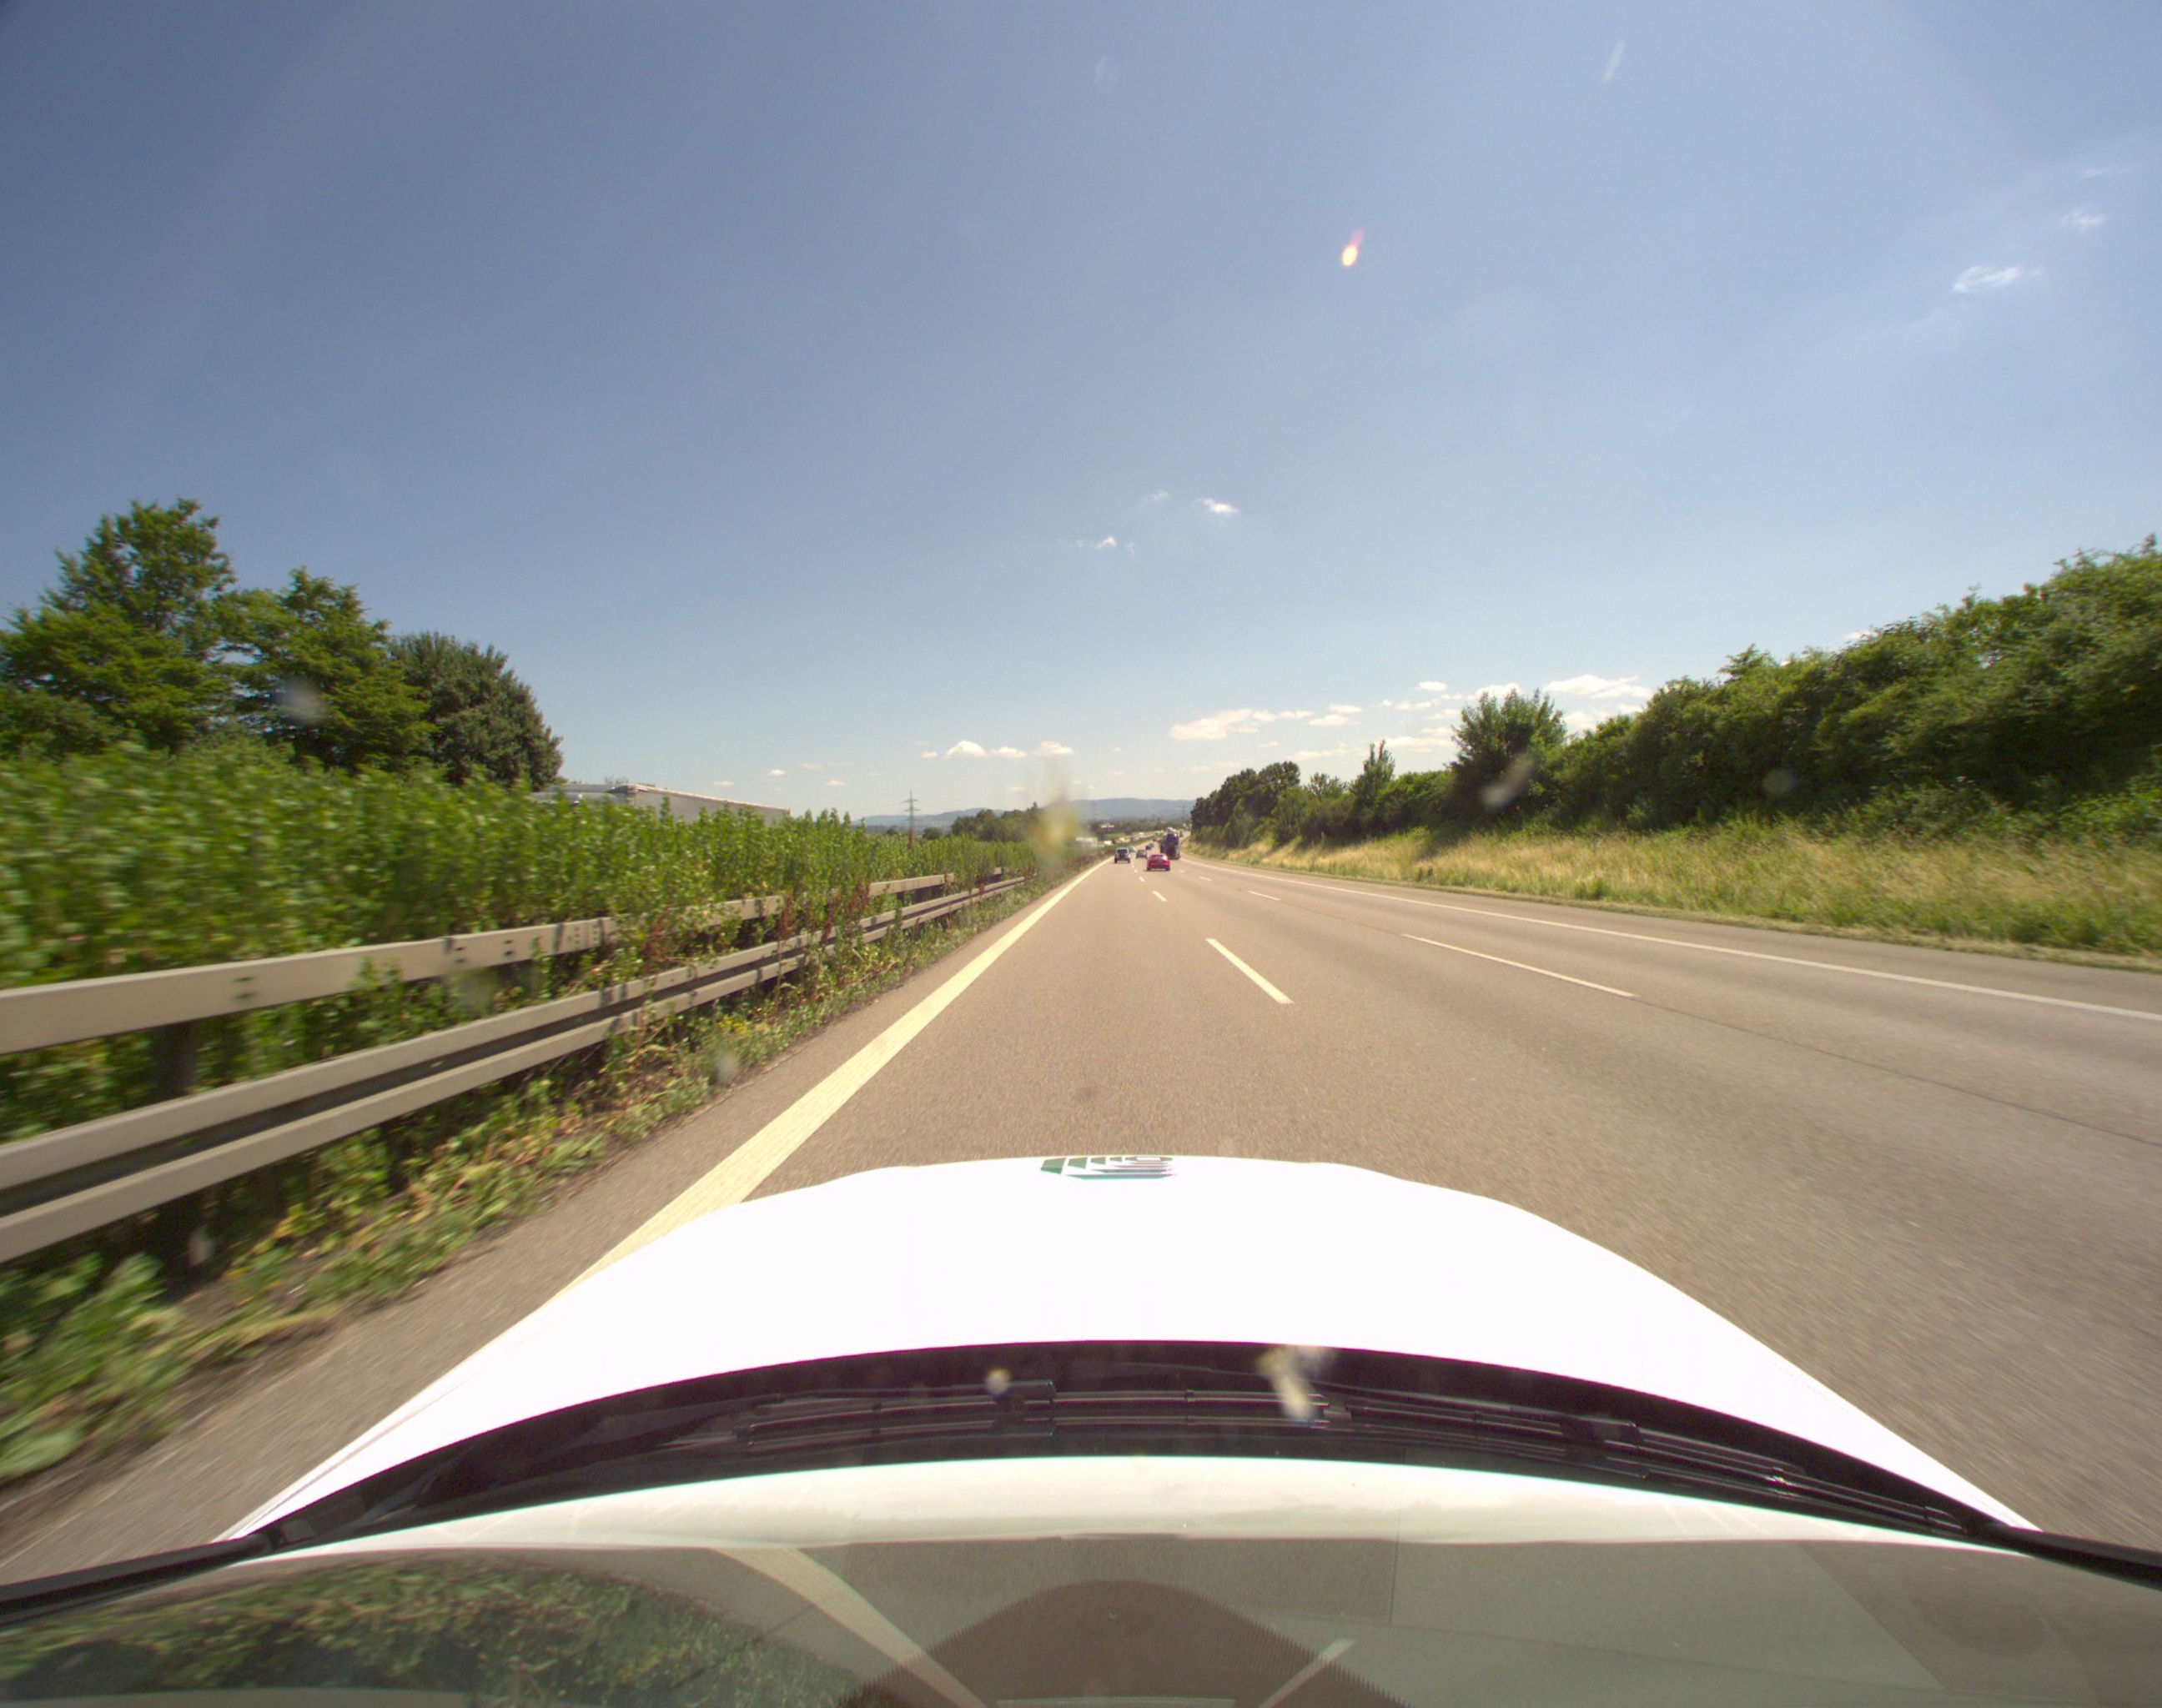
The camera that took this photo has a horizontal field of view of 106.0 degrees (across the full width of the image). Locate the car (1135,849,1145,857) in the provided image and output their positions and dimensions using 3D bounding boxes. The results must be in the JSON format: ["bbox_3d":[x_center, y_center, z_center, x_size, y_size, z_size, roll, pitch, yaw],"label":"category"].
[{"bbox_3d":[9.822,-0.168,135.724,1.446,1.267,3.541,0,1,2],"label":"car"}]

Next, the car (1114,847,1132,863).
[{"bbox_3d":[5.247,0.080,101.480,2.076,1.829,4.754,0,1,1],"label":"car"}]

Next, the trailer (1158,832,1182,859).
[{"bbox_3d":[13.824,-1.442,128.061,2.843,3.993,15.409,0,1,3],"label":"trailer"}]

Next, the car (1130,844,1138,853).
[{"bbox_3d":[13.262,-1.362,204.387,1.688,2.013,3.833,0,1,9],"label":"car"}]

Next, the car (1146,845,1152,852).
[{"bbox_3d":[19.278,-1.583,231.138,1.626,1.704,3.410,0,1,9],"label":"car"}]

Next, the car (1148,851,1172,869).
[{"bbox_3d":[6.422,0.472,66.380,1.680,1.378,3.950,0,1,1],"label":"car"}]

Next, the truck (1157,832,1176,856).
[{"bbox_3d":[14.183,-1.655,135.650,2.743,3.852,6.648,0,1,2],"label":"truck"}]

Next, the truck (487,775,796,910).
[{"bbox_3d":[-16.046,-0.355,32.702,2.964,4.013,16.831,0,0,1],"label":"truck"}]
